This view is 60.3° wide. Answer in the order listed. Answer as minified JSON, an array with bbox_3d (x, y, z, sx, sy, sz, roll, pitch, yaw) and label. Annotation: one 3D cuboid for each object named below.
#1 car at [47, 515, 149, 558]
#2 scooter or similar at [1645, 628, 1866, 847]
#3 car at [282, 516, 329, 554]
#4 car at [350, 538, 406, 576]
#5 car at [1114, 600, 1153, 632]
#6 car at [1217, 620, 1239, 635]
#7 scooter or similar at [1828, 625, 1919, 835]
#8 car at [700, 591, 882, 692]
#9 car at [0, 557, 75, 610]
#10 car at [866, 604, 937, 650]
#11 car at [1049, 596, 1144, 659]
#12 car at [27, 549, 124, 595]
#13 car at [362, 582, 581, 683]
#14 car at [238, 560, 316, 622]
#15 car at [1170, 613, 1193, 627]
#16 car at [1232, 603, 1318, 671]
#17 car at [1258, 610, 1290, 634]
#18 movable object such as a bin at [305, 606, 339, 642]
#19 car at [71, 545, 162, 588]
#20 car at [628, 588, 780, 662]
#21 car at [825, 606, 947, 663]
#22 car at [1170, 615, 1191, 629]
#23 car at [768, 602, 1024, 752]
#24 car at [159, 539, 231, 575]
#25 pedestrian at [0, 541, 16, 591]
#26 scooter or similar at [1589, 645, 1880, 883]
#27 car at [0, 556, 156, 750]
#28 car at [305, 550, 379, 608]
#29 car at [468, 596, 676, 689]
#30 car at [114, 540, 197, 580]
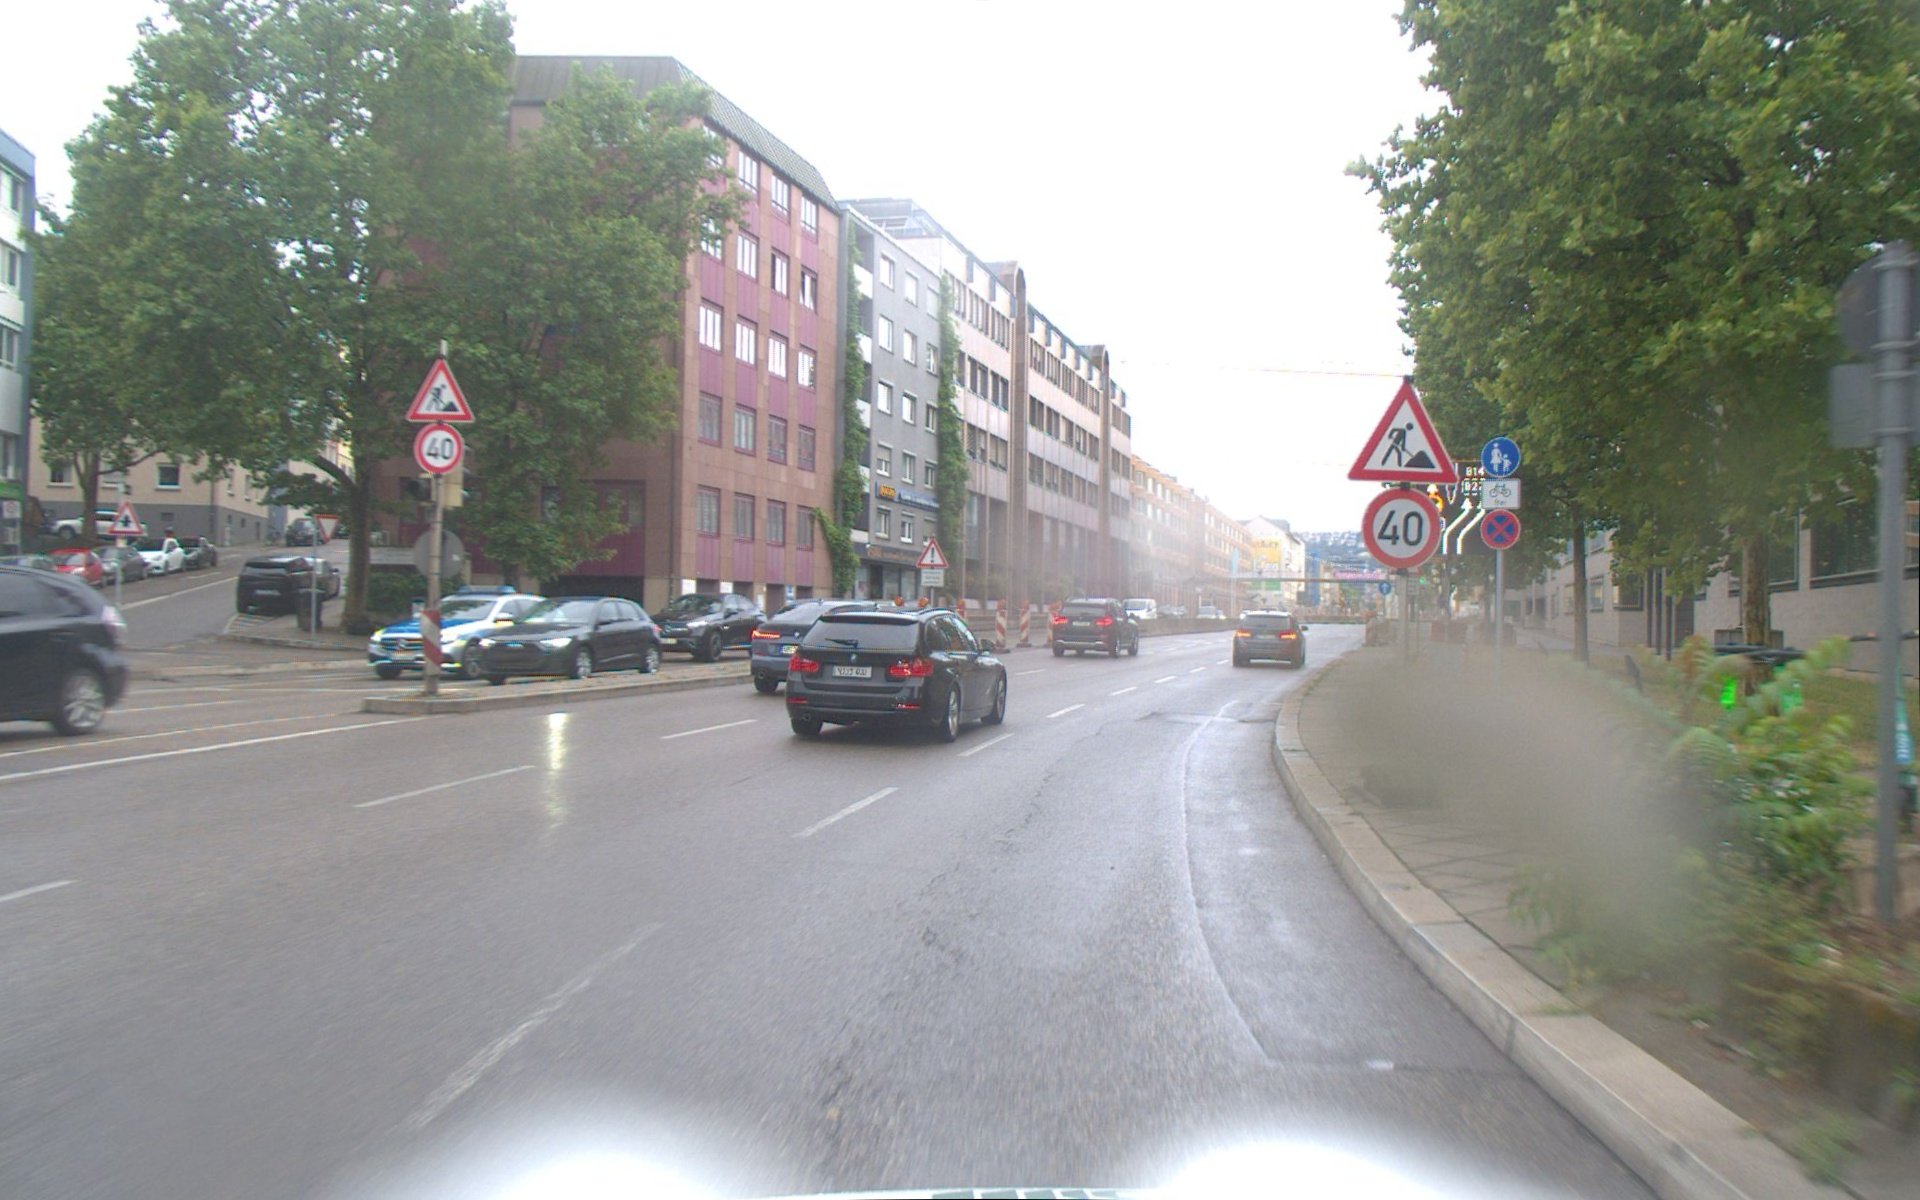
[{"bbox_3d":[-44.884,-3.298,86.204,4.345,2.041,1.991,1,-1,-16],"label":"car"},{"bbox_3d":[4.783,0.783,9.928,1.324,1.222,0.680,1,-1,-38],"label":"scooter or similar"},{"bbox_3d":[-39.006,-3.856,98.657,1.959,2.049,3.987,0,-1,-13],"label":"car"},{"bbox_3d":[-27.270,-2.026,77.593,1.896,1.703,3.991,0,2,-11],"label":"car"},{"bbox_3d":[11.161,1.051,106.118,1.951,2.025,5.293,0,-1,12],"label":"car"},{"bbox_3d":[26.983,2.776,166.430,1.821,1.560,4.234,0,-1,14],"label":"car"},{"bbox_3d":[5.786,0.767,10.263,0.551,1.222,1.325,0,-1,21],"label":"scooter or similar"},{"bbox_3d":[-2.551,0.633,26.066,1.752,1.451,4.388,0,-1,10],"label":"car"},{"bbox_3d":[-30.832,-0.570,54.425,1.800,1.488,4.169,0,4,-10],"label":"car"},{"bbox_3d":[-1.952,0.897,56.147,1.523,1.510,2.951,0,0,17],"label":"car"},{"bbox_3d":[3.952,0.787,47.391,1.860,1.723,4.001,0,-1,18],"label":"car"},{"bbox_3d":[-32.000,-1.039,59.938,1.799,1.455,4.064,0,4,-9],"label":"car"},{"bbox_3d":[-8.801,0.584,30.231,1.729,1.711,4.594,0,-1,14],"label":"car"},{"bbox_3d":[-22.515,-0.322,54.669,1.900,1.900,3.982,2,0,-16],"label":"car"},{"bbox_3d":[24.924,2.259,185.857,1.951,1.648,4.766,0,-1,15],"label":"car"},{"bbox_3d":[8.483,0.971,44.377,1.860,1.723,4.002,0,-1,17],"label":"car"},{"bbox_3d":[23.239,1.619,122.406,1.860,1.723,4.001,0,-1,18],"label":"car"},{"bbox_3d":[-18.056,0.686,46.810,0.778,1.013,0.865,1,-1,-31],"label":"movable object such as a bin"},{"bbox_3d":[-32.709,-1.322,64.255,1.797,1.455,4.067,0,4,-6],"label":"car"},{"bbox_3d":[-6.189,0.613,40.699,1.951,1.707,4.941,-1,-1,14],"label":"car"},{"bbox_3d":[-1.904,0.901,44.405,1.951,1.463,4.941,-1,-1,14],"label":"car"},{"bbox_3d":[26.314,2.668,196.983,1.951,1.648,4.320,0,-1,15],"label":"car"},{"bbox_3d":[-0.579,0.796,19.105,1.753,1.451,4.617,2,0,13],"label":"car"},{"bbox_3d":[-34.040,-1.935,73.711,1.798,1.455,4.064,0,4,-8],"label":"car"},{"bbox_3d":[-34.158,-1.201,58.708,0.824,1.748,0.979,0,-1,-11],"label":"pedestrian"},{"bbox_3d":[4.135,0.830,8.971,0.623,1.148,1.589,0,-1,-10],"label":"scooter or similar"},{"bbox_3d":[-9.127,0.465,14.112,1.814,1.651,4.596,-1,-1,8],"label":"car"},{"bbox_3d":[-22.882,-0.818,61.368,1.896,1.900,3.992,0,4,-11],"label":"car"},{"bbox_3d":[-6.447,0.696,27.961,1.729,1.441,4.085,0,-1,14],"label":"car"},{"bbox_3d":[-33.418,-1.695,68.835,1.797,1.455,4.067,0,4,-6],"label":"car"}]
